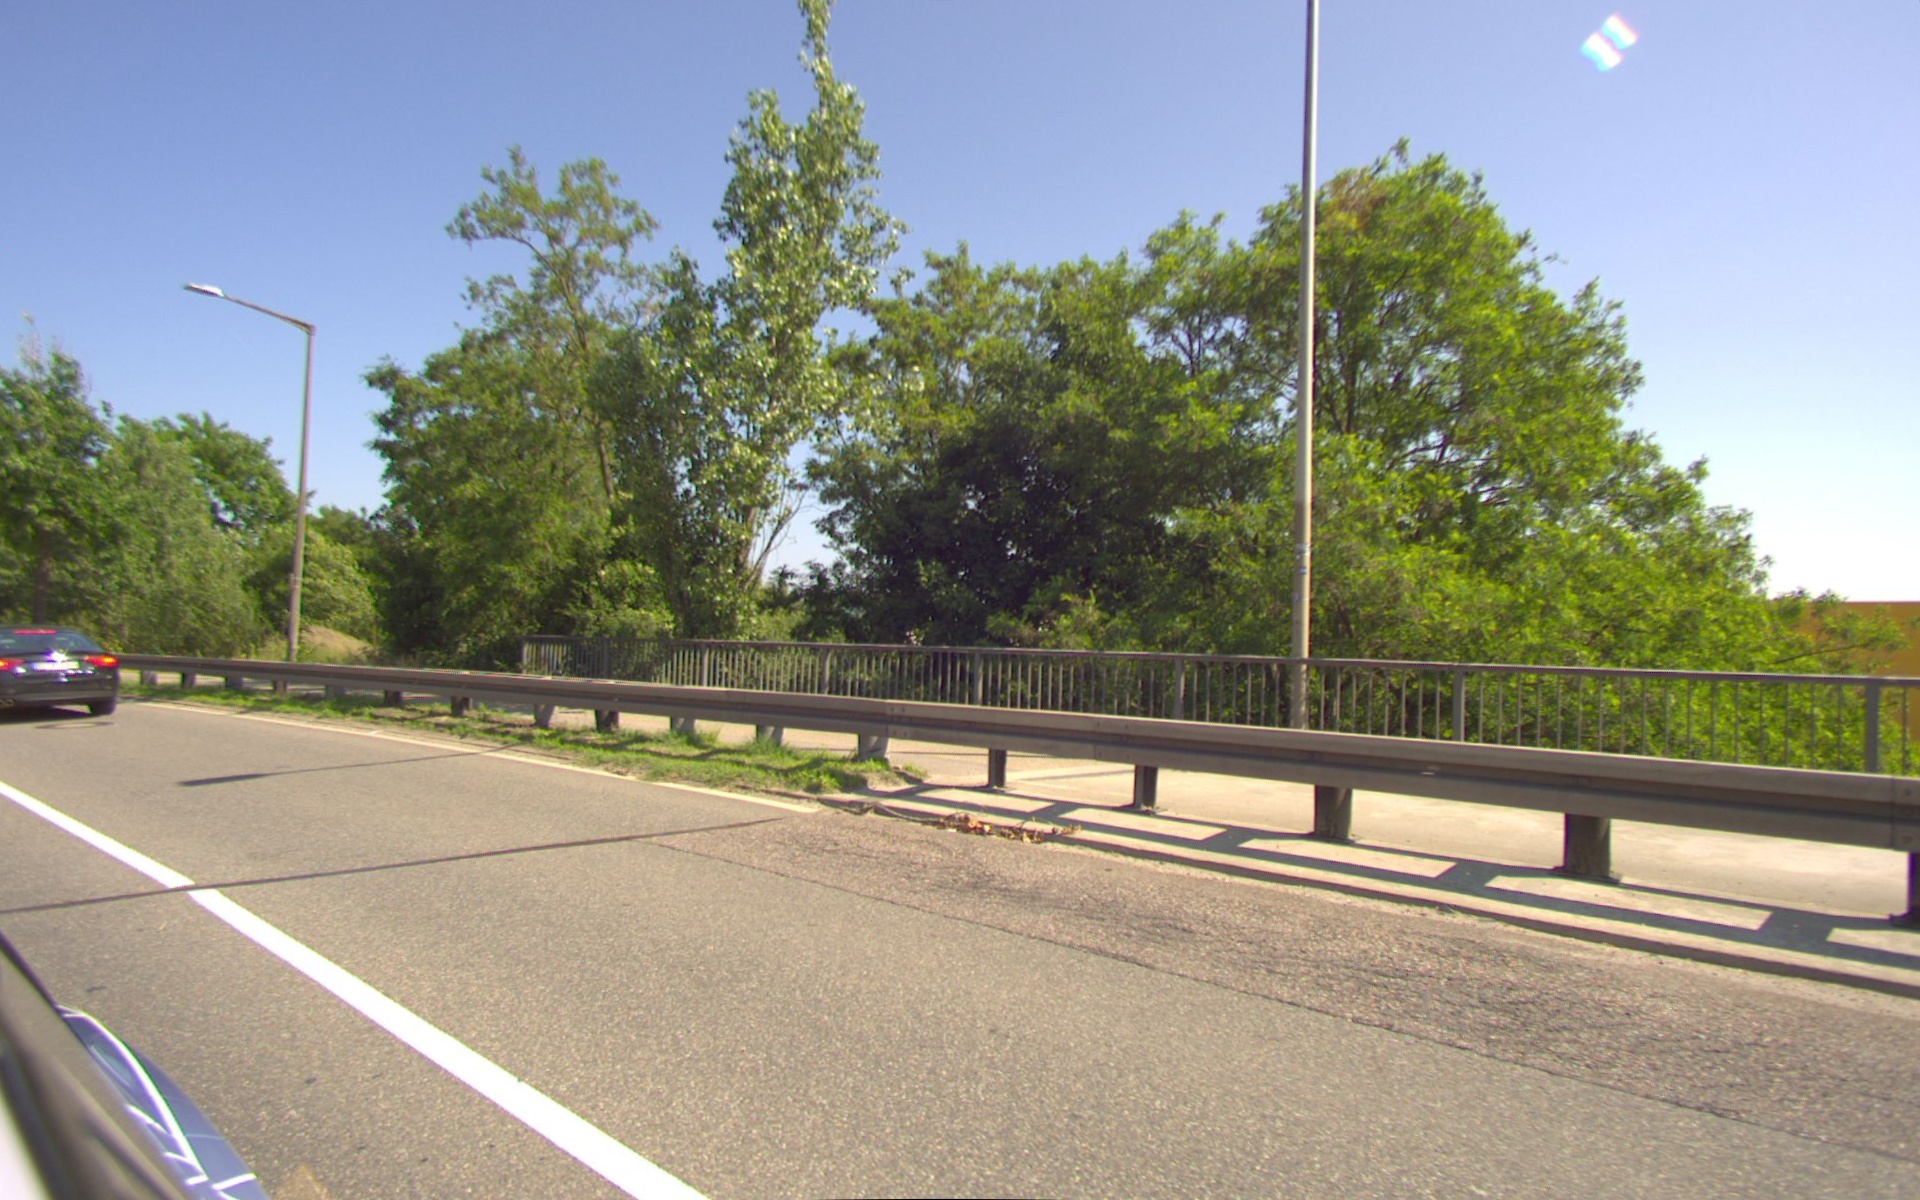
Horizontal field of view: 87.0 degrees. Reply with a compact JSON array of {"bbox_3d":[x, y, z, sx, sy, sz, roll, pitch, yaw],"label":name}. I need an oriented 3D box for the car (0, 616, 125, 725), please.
[{"bbox_3d":[-14.485,0.993,15.357,4.288,1.468,1.724,-1,-1,35],"label":"car"}]
